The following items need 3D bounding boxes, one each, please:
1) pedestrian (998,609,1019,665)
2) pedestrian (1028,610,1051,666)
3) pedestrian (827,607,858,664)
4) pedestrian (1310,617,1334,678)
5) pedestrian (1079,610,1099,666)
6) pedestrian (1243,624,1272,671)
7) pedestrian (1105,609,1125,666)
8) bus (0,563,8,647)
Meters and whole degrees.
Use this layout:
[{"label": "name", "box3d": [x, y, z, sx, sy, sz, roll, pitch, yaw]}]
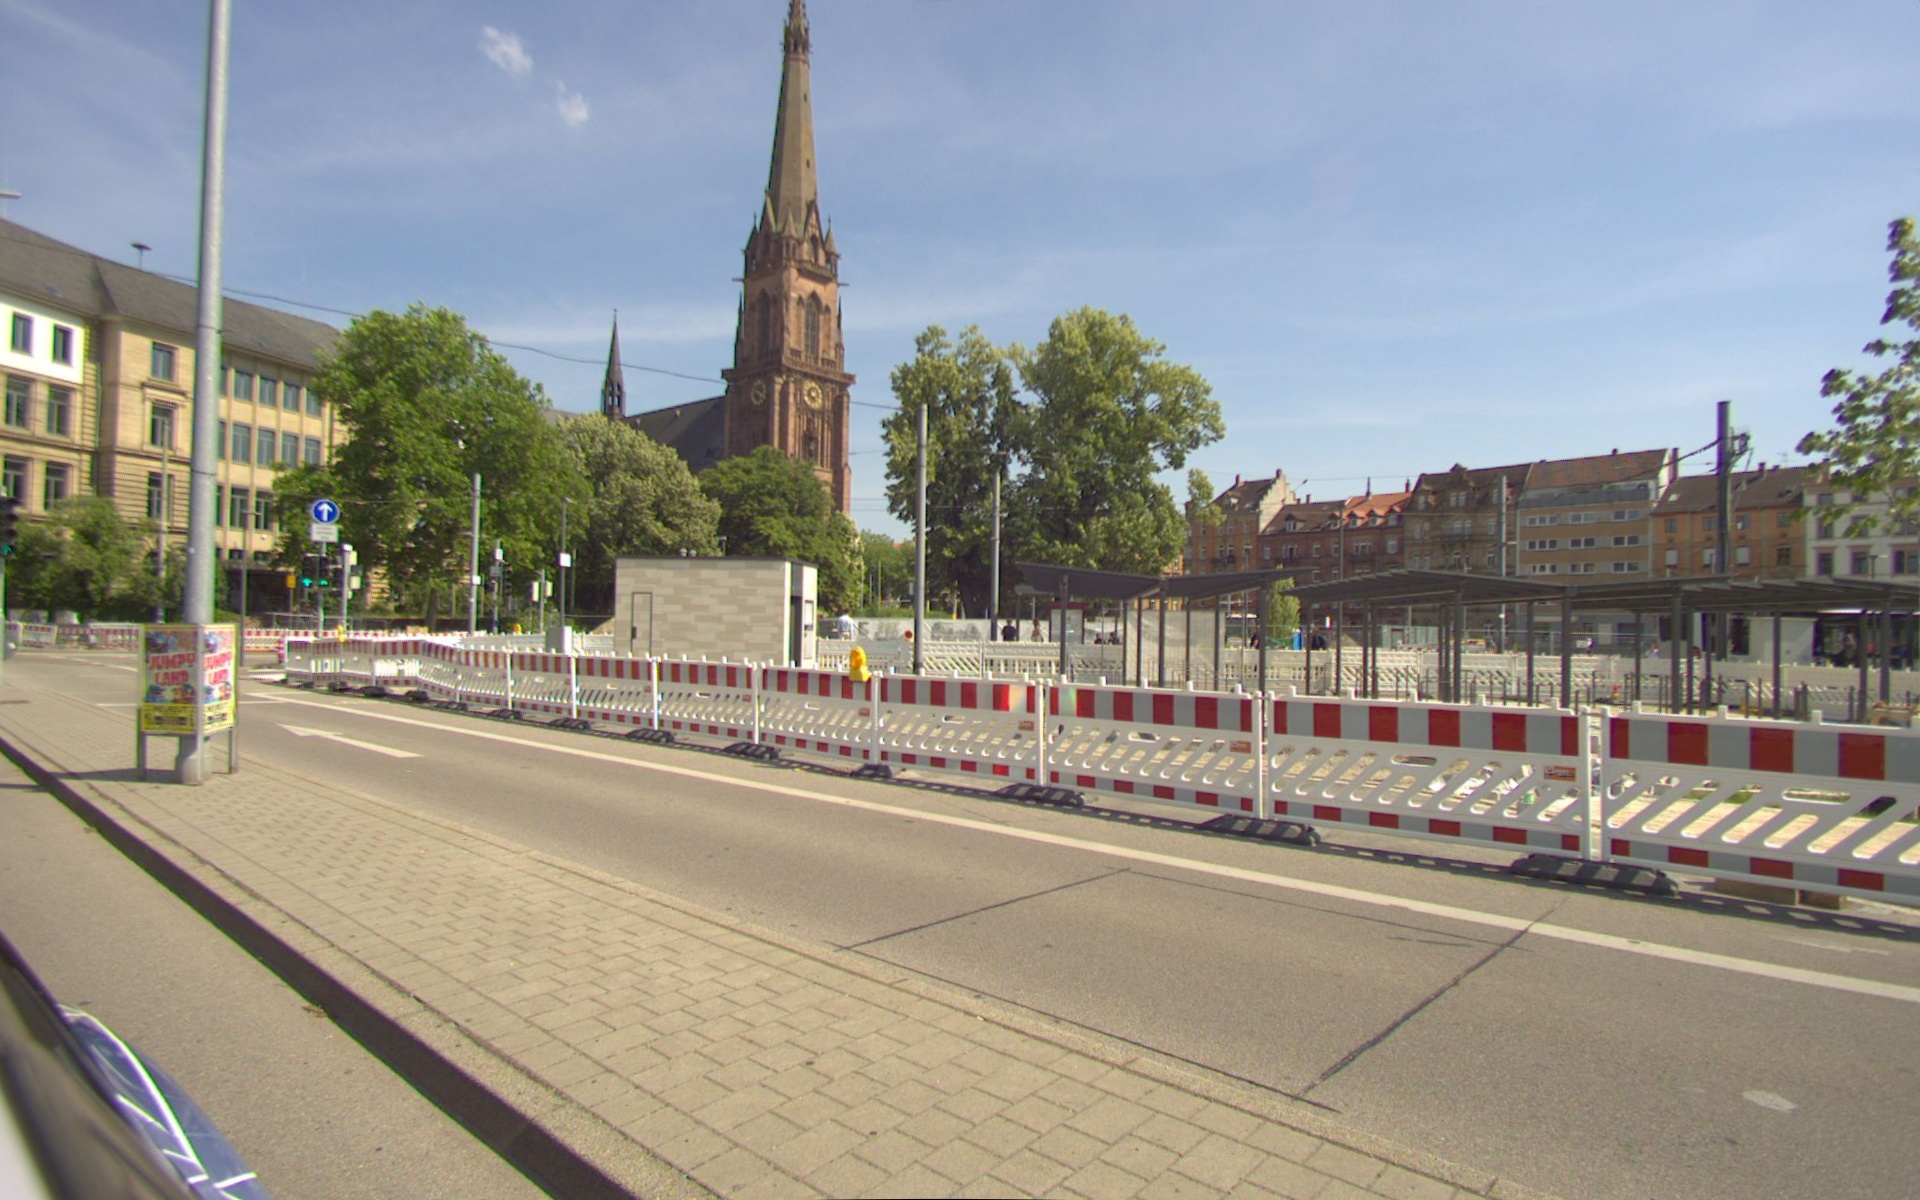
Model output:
[{"label": "pedestrian", "box3d": [1.817, 1.372, 37.731, 0.678, 2.029, 0.819, 1, -2, 7]}, {"label": "pedestrian", "box3d": [2.943, 1.397, 37.530, 0.810, 2.029, 0.685, 1, -2, 6]}, {"label": "pedestrian", "box3d": [-4.200, 1.266, 36.062, 0.686, 2.029, 0.809, -1, -3, 43]}, {"label": "pedestrian", "box3d": [12.391, 1.614, 34.654, 0.680, 2.029, 0.816, 0, -2, 16]}, {"label": "pedestrian", "box3d": [4.738, 1.397, 37.087, 0.679, 2.029, 0.818, 1, -2, 11]}, {"label": "pedestrian", "box3d": [10.832, 1.741, 36.917, 0.733, 1.674, 0.822, 1, -2, -7]}, {"label": "pedestrian", "box3d": [5.666, 1.375, 36.920, 0.679, 2.029, 0.818, 1, -2, 11]}, {"label": "bus", "box3d": [-41.653, 0.231, 35.770, 12.219, 3.117, 3.138, 0, 0, -6]}]
